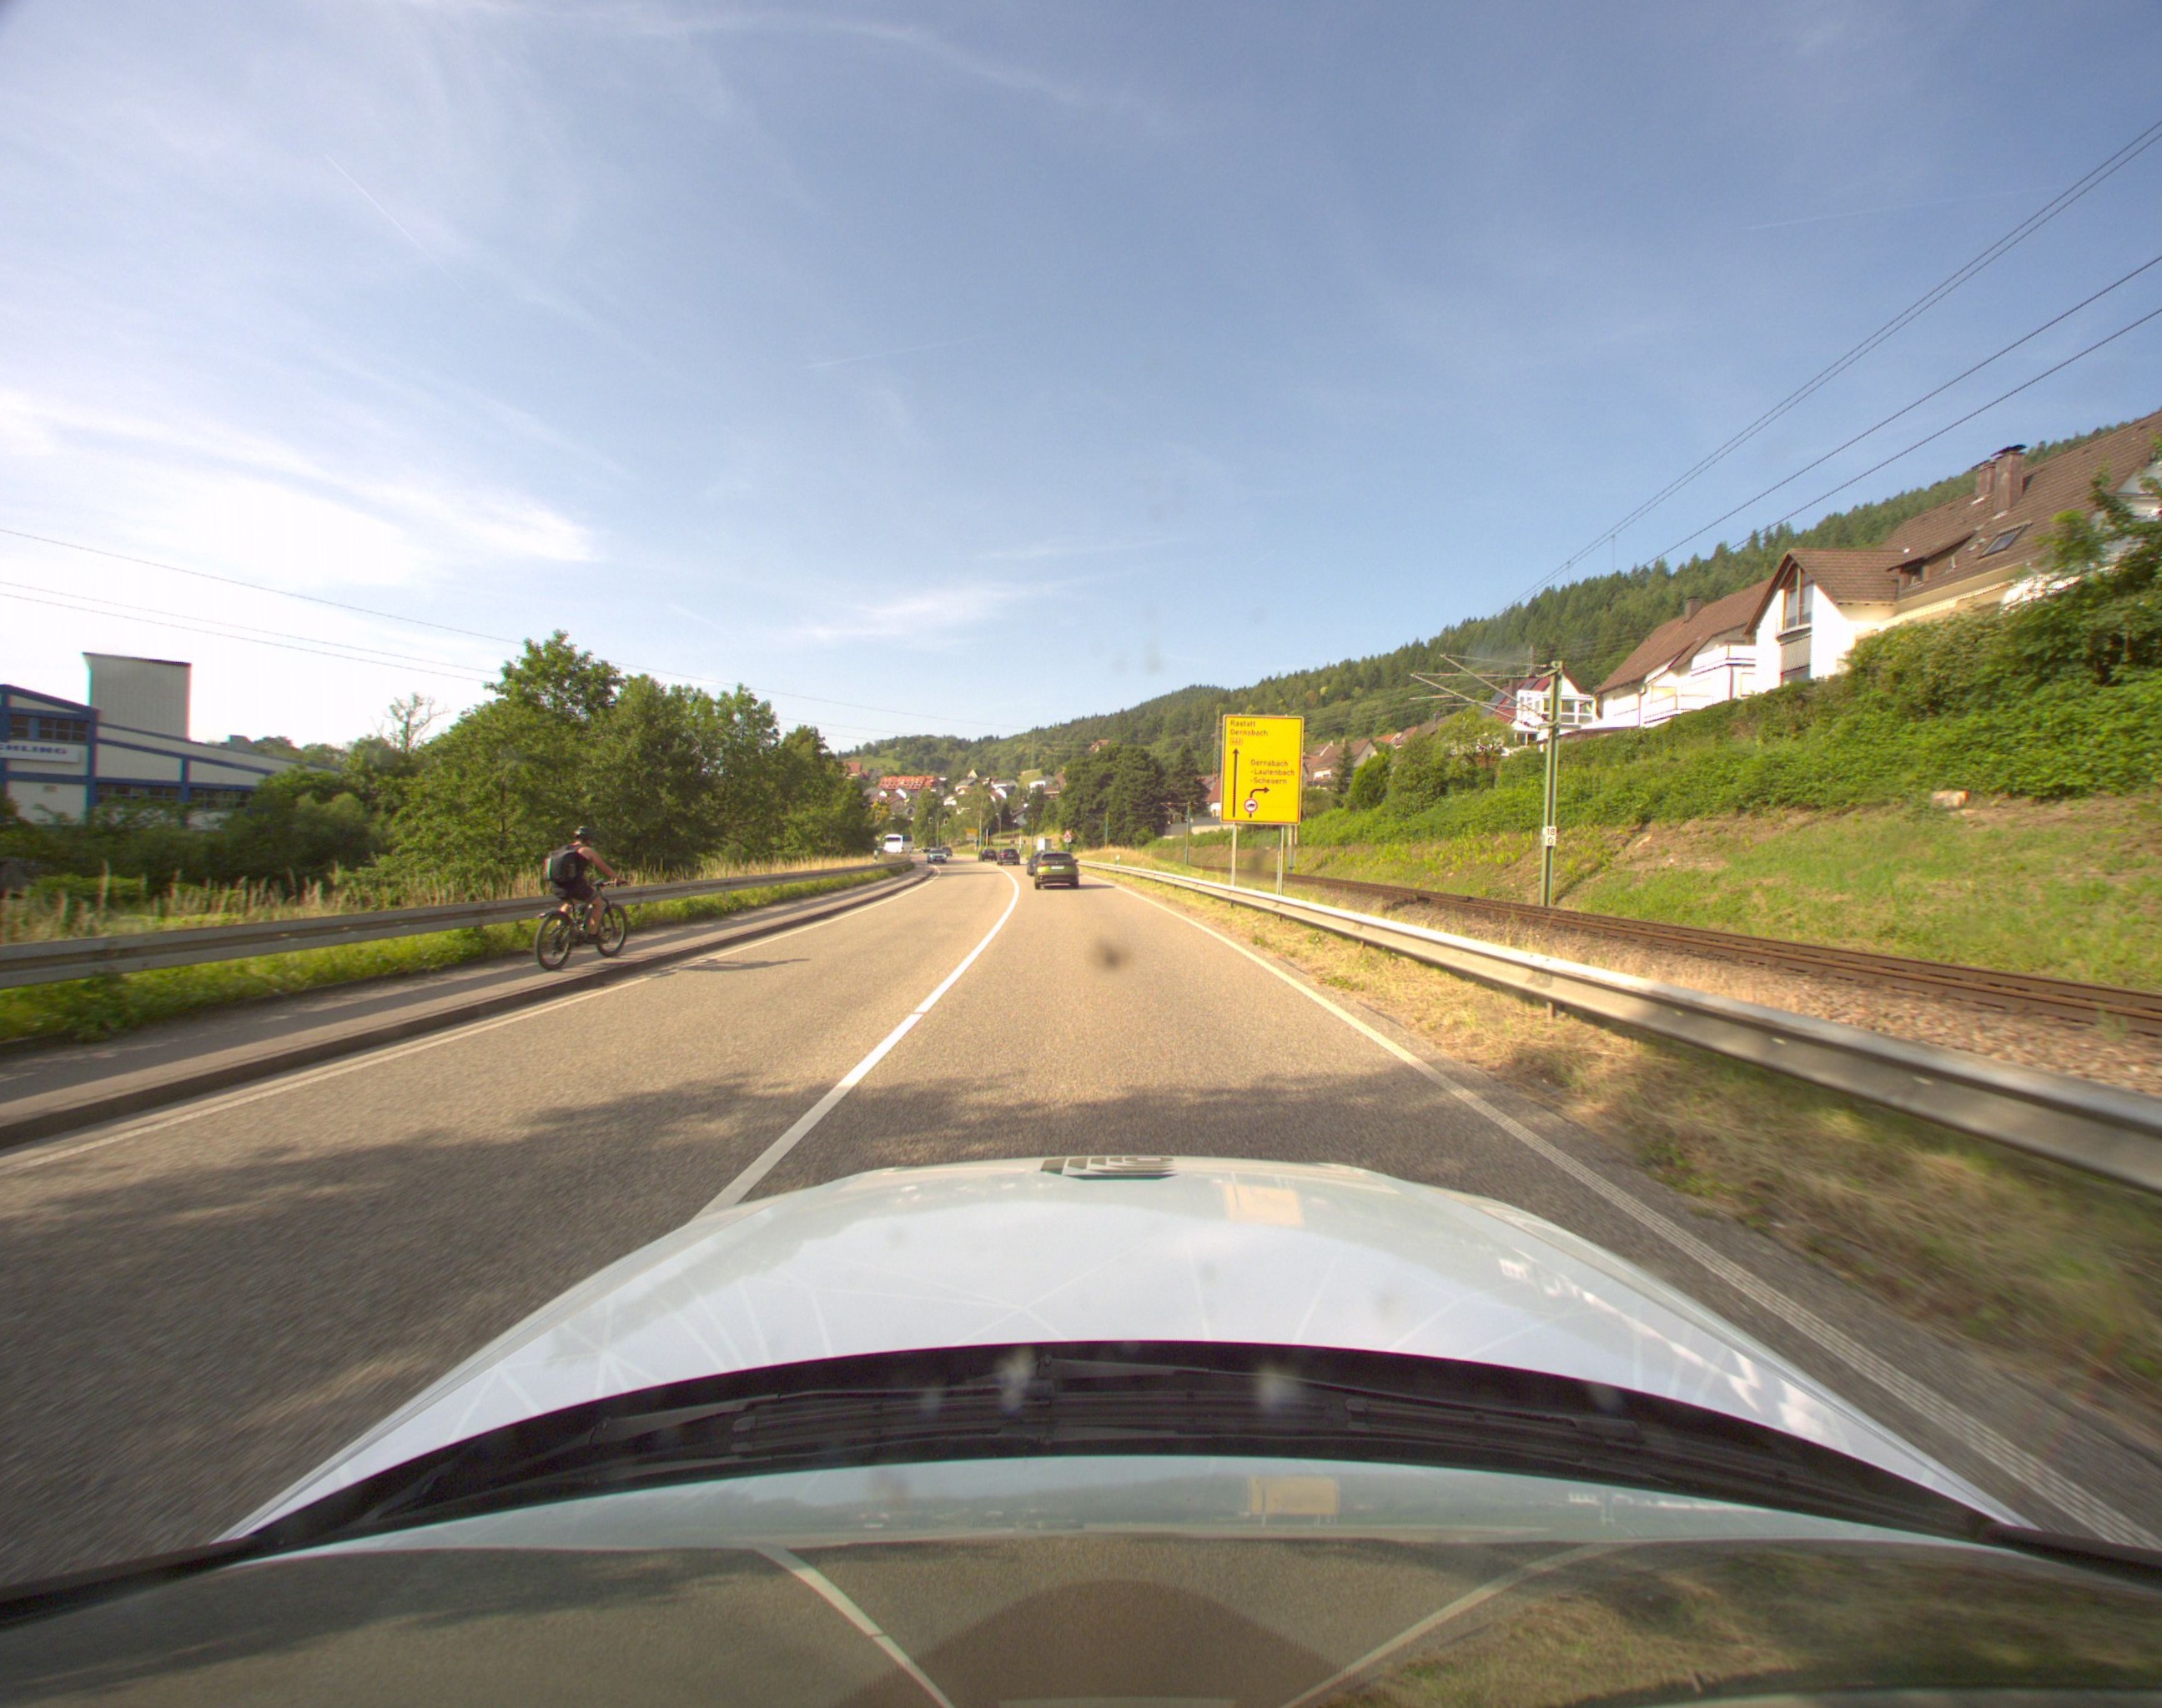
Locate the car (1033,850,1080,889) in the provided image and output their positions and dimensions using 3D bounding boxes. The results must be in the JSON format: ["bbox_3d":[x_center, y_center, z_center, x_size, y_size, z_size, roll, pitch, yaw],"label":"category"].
[{"bbox_3d":[-1.052,0.589,33.142,1.711,1.455,3.994,-1,0,-4],"label":"car"}]

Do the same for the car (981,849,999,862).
[{"bbox_3d":[-10.933,0.187,97.912,1.850,1.527,3.648,1,1,-12],"label":"car"}]

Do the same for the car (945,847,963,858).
[{"bbox_3d":[-21.111,-0.261,134.811,2.071,1.811,3.971,2,0,-22],"label":"car"}]

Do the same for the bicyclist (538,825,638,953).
[{"bbox_3d":[-6.514,0.439,10.815,0.555,1.586,1.037,4,1,4],"label":"bicyclist"}]

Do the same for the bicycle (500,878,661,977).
[{"bbox_3d":[-6.537,0.903,10.805,0.555,1.045,2.232,4,1,4],"label":"bicycle"}]

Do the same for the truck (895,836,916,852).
[{"bbox_3d":[-35.048,-2.114,162.473,2.726,3.083,6.057,-2,2,-26],"label":"truck"}]

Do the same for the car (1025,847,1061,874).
[{"bbox_3d":[-2.315,0.369,48.392,1.667,1.559,3.987,1,0,-10],"label":"car"}]

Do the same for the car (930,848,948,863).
[{"bbox_3d":[-15.823,0.135,90.746,1.994,1.629,3.986,-1,0,-11],"label":"car"}]

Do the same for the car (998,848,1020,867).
[{"bbox_3d":[-6.893,0.308,78.084,1.879,1.686,3.989,1,0,-8],"label":"car"}]
